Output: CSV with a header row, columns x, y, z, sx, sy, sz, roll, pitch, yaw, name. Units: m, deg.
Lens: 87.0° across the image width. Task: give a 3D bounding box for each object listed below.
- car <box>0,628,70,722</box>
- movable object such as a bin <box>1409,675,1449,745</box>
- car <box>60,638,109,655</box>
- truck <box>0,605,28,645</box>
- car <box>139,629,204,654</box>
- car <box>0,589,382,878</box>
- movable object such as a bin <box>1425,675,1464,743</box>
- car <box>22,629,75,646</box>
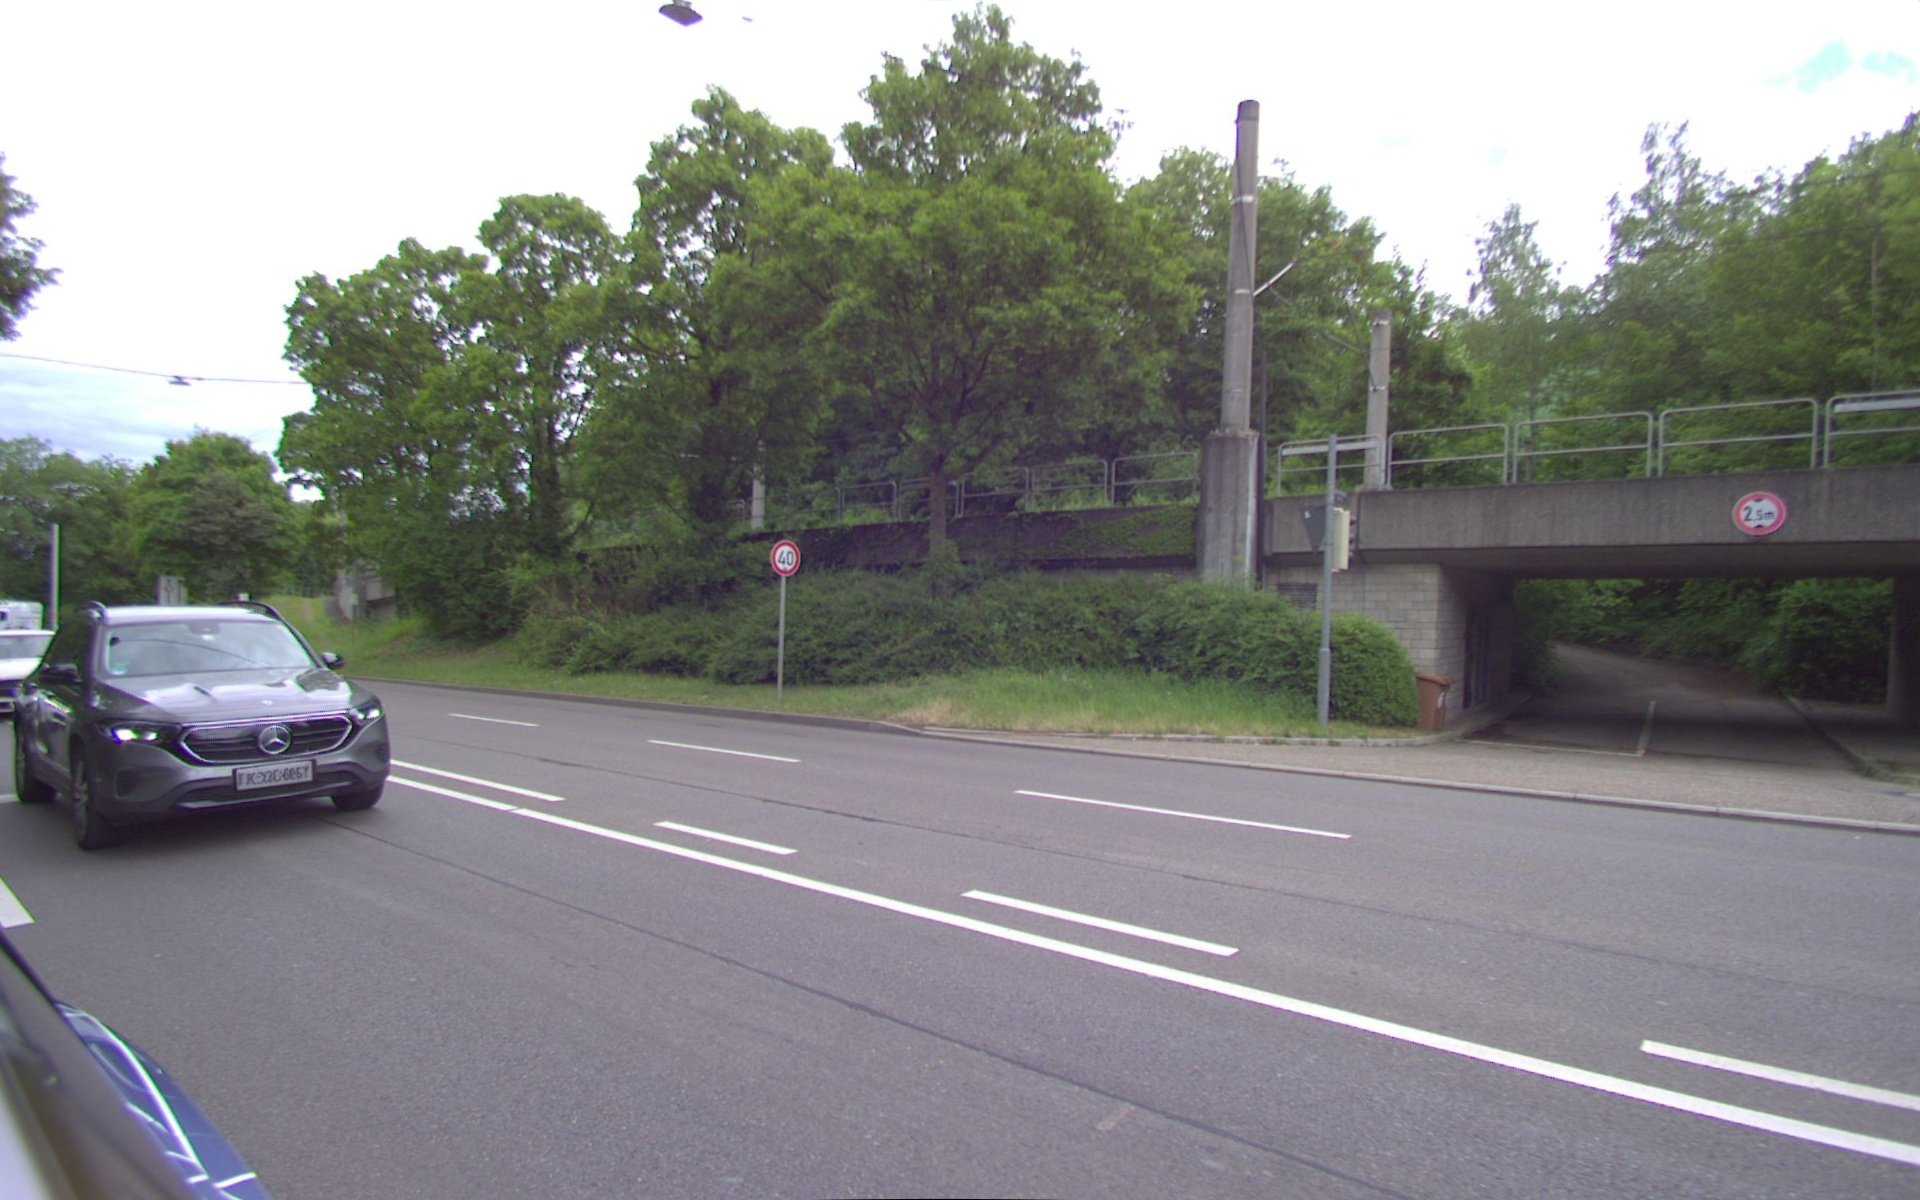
x,y,z,sx,sy,sz,roll,pitch,yaw,name
-16.159,1.196,16.756,3.731,1.435,1.667,-2,-1,41,car
7.549,1.764,16.302,0.503,1.071,0.414,-1,-3,36,movable object such as a bin
-77.656,4.123,89.830,1.736,1.452,3.902,2,-3,-15,car
-77.710,1.972,80.697,2.164,3.180,6.670,2,-3,-17,truck
-75.813,3.947,97.424,2.249,2.217,6.473,-1,-1,-11,car
-6.352,0.819,7.973,4.356,1.664,1.830,-2,-1,41,car
8.046,1.797,16.795,0.503,1.071,0.414,-1,-3,36,movable object such as a bin
-80.747,3.357,89.712,1.727,1.372,4.021,4,-4,-15,car
